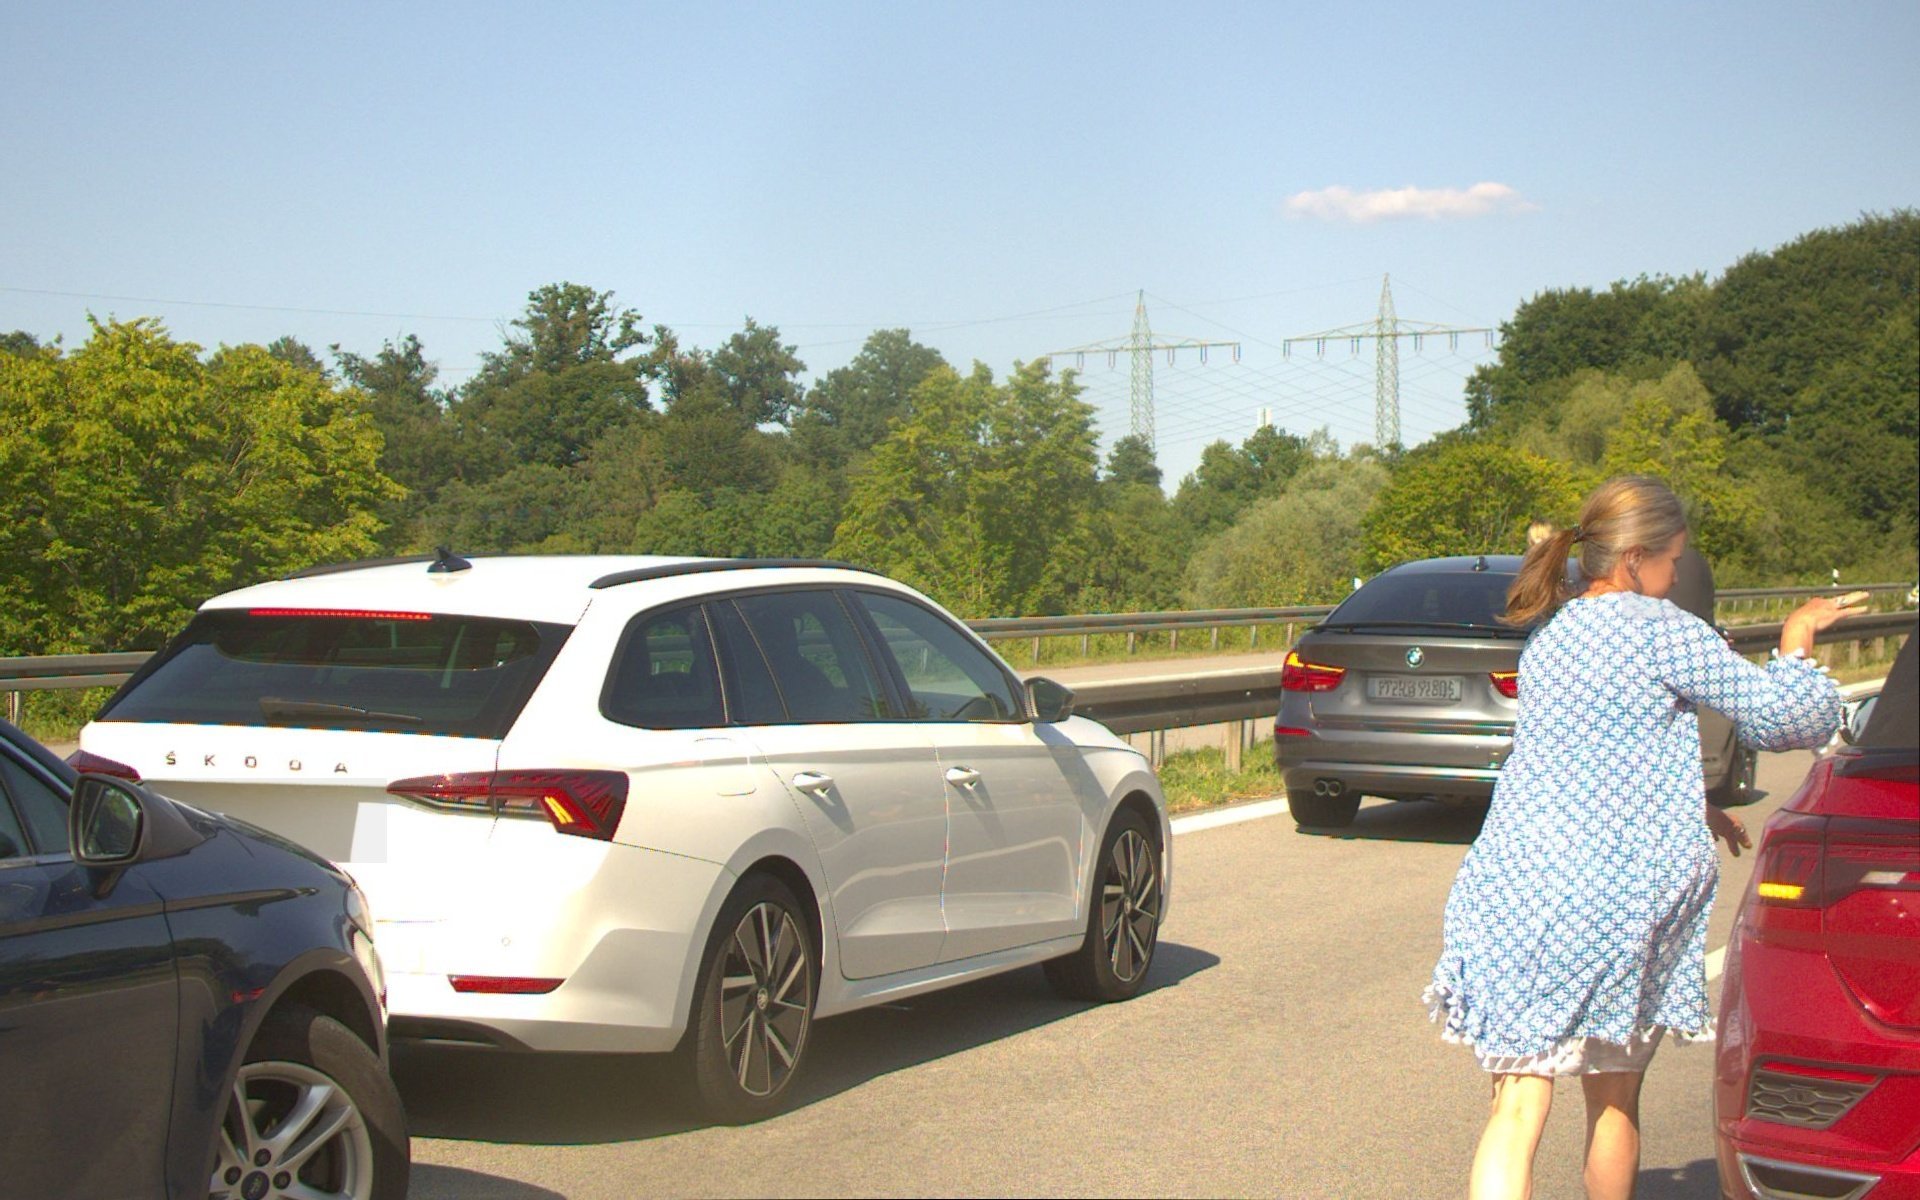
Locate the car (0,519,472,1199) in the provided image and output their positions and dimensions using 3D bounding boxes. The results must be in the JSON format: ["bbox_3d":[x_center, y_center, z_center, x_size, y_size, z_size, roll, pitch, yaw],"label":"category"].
[{"bbox_3d":[-2.395,0.635,4.820,1.789,1.488,4.490,0,1,15],"label":"car"}]

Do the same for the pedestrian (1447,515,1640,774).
[{"bbox_3d":[4.095,0.296,24.084,1.042,1.757,1.117,0,1,26],"label":"pedestrian"}]

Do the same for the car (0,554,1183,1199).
[{"bbox_3d":[-0.870,0.601,10.039,1.697,1.436,4.205,1,1,23],"label":"car"}]

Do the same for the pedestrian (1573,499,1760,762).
[{"bbox_3d":[5.187,0.209,25.211,1.067,1.876,1.092,0,1,28],"label":"pedestrian"}]

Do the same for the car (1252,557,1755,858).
[{"bbox_3d":[3.119,0.491,18.970,1.697,1.421,4.328,1,1,23],"label":"car"}]

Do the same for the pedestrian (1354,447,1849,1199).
[{"bbox_3d":[1.176,0.574,6.323,0.839,1.677,0.743,0,0,11],"label":"pedestrian"}]

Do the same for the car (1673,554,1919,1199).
[{"bbox_3d":[2.792,0.660,7.169,1.734,1.482,4.205,1,1,23],"label":"car"}]

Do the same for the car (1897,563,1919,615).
[{"bbox_3d":[27.786,-0.317,97.288,1.697,1.421,4.299,1,1,25],"label":"car"}]
